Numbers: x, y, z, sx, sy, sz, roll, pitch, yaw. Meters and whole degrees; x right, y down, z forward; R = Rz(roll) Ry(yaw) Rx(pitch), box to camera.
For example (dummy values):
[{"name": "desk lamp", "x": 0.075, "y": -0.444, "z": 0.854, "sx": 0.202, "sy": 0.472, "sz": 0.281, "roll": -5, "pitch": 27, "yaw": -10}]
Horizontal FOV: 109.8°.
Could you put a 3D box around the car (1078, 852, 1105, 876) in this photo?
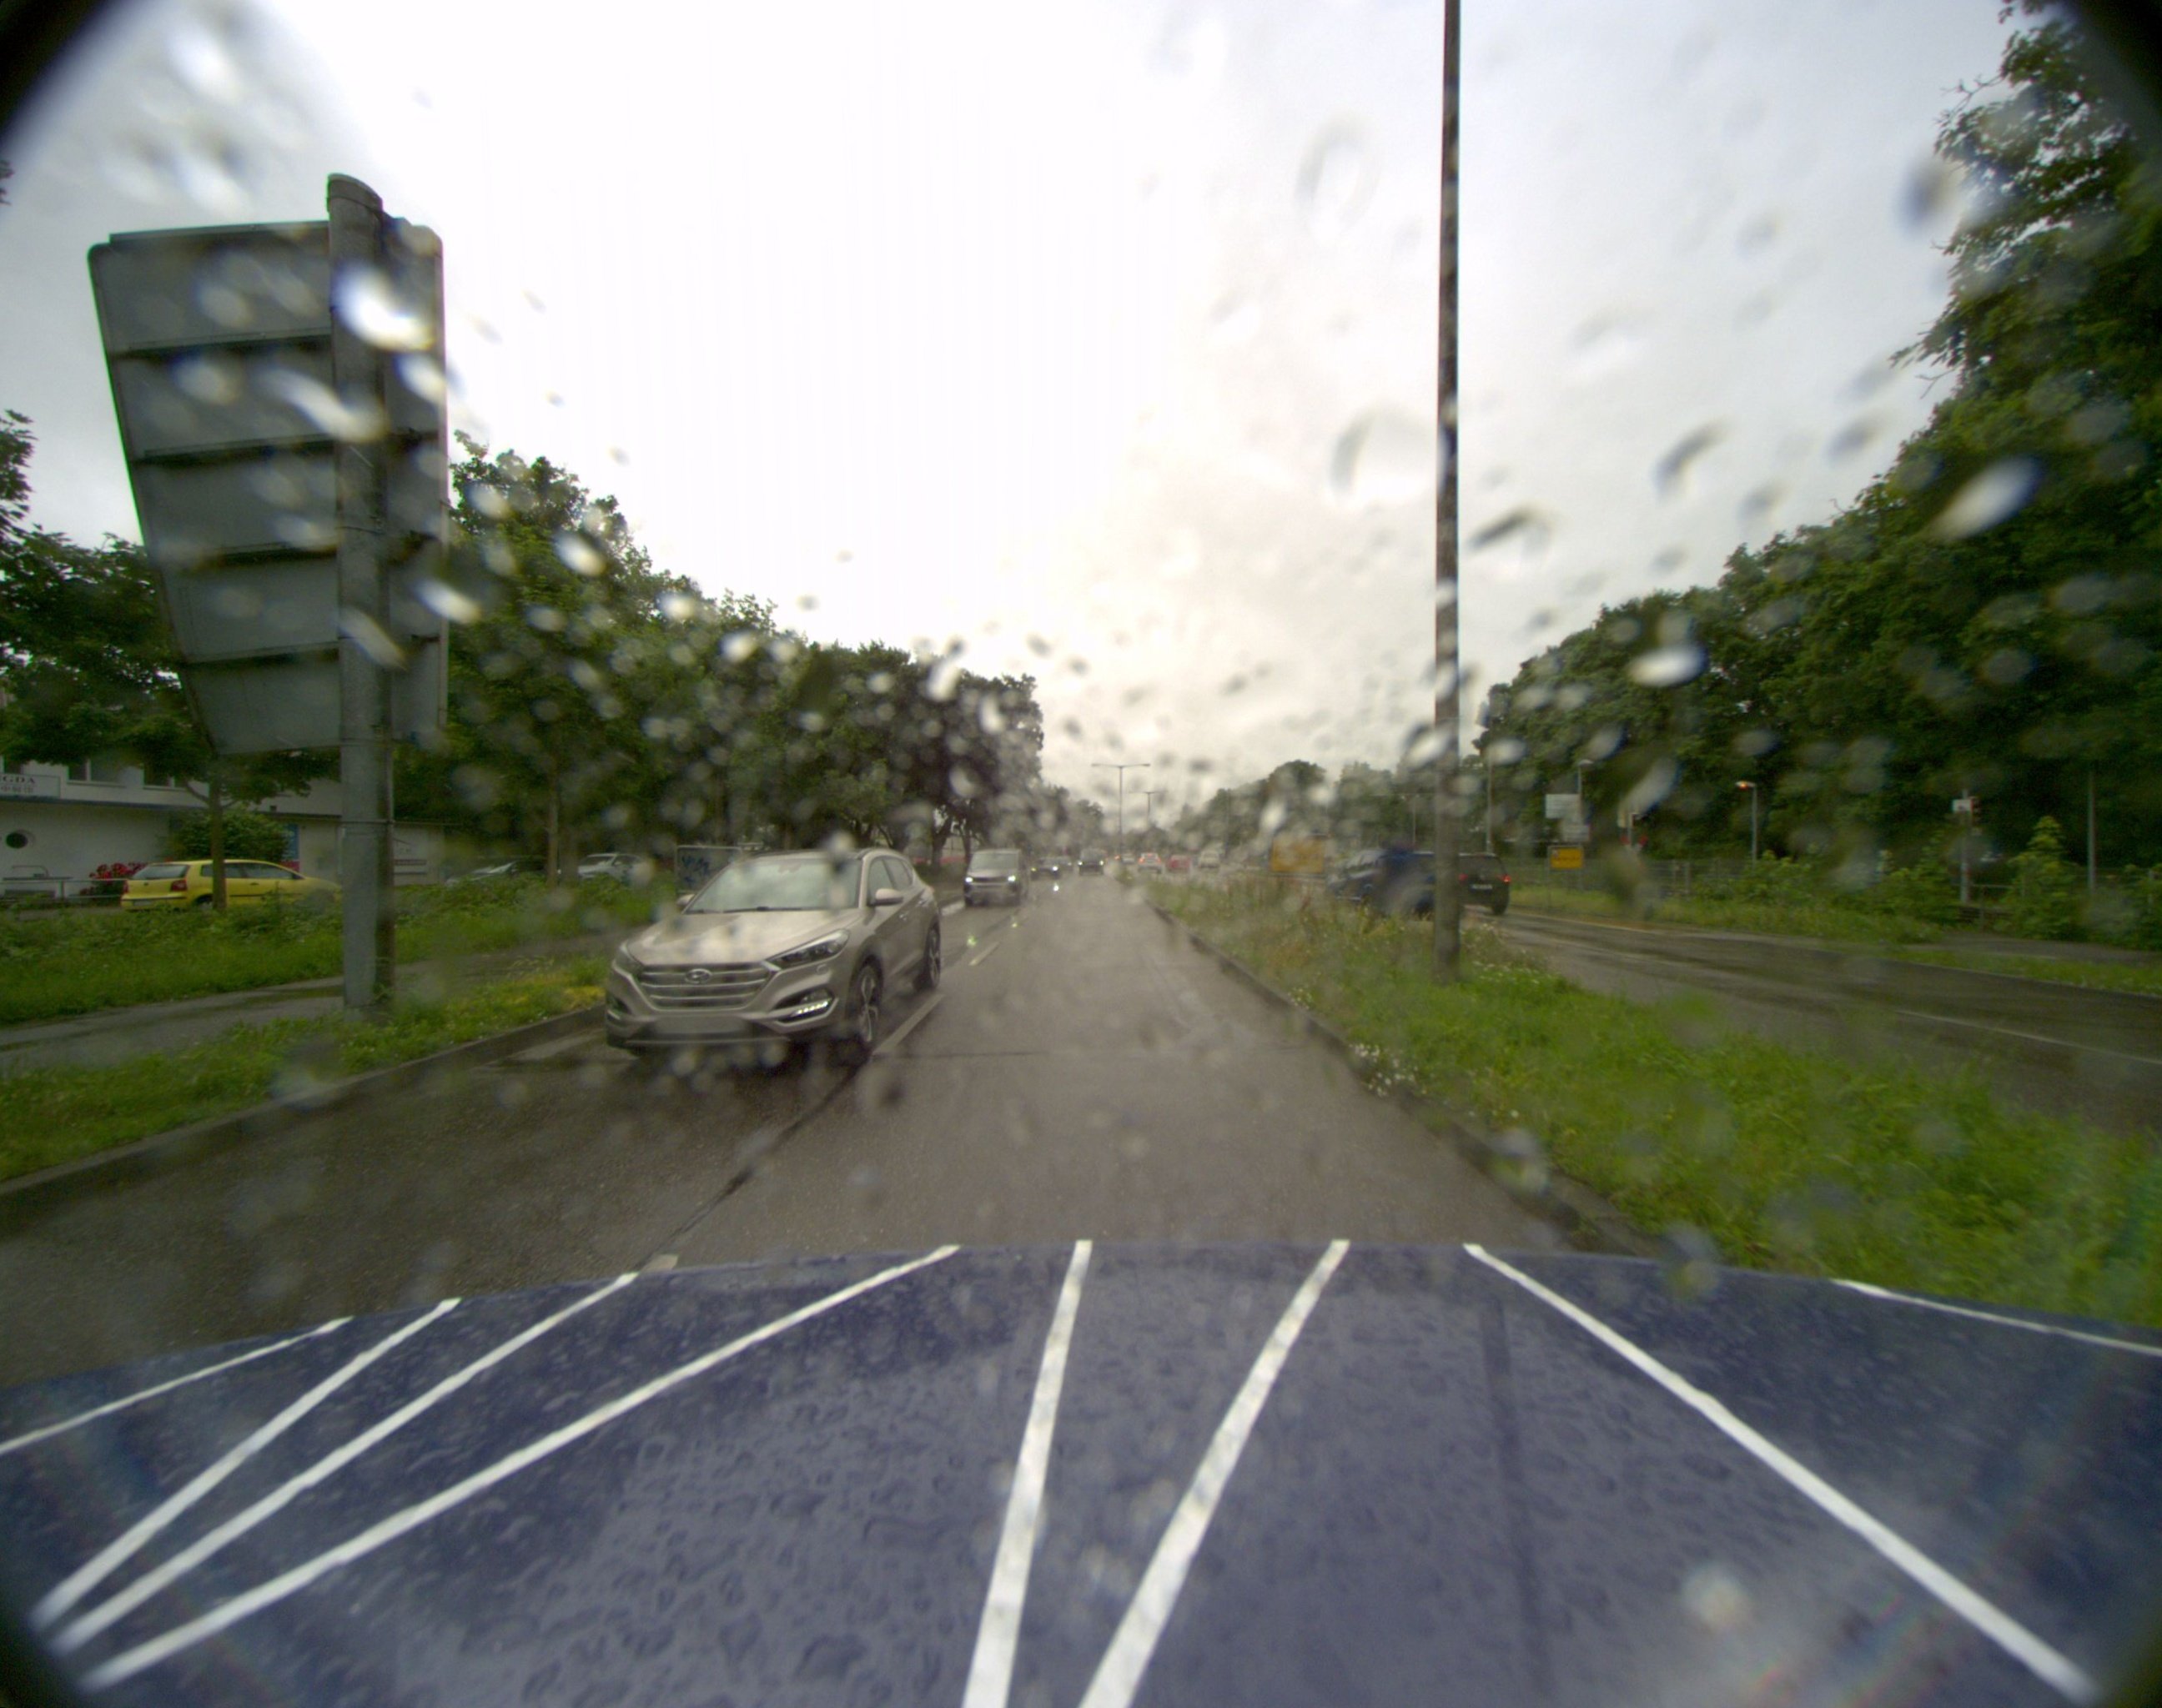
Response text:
[{"name": "car", "x": 0.855, "y": 0.717, "z": 57.726, "sx": 1.812, "sy": 1.683, "sz": 3.777, "roll": -2, "pitch": 1, "yaw": 4}]

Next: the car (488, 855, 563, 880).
[{"name": "car", "x": -32.488, "y": 0.755, "z": 44.549, "sx": 1.576, "sy": 1.308, "sz": 3.701, "roll": -2, "pitch": 1, "yaw": 0}]

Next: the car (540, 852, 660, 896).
[{"name": "car", "x": -20.500, "y": 0.798, "z": 32.690, "sx": 1.998, "sy": 1.707, "sz": 4.878, "roll": 0, "pitch": 1, "yaw": 1}]

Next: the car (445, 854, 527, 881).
[{"name": "car", "x": -34.835, "y": 0.760, "z": 44.617, "sx": 1.587, "sy": 1.377, "sz": 4.000, "roll": -2, "pitch": 1, "yaw": 1}]

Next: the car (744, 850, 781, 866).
[{"name": "car", "x": -40.865, "y": 0.508, "z": 97.540, "sx": 4.185, "sy": 1.953, "sz": 1.929, "roll": -2, "pitch": 1, "yaw": 24}]

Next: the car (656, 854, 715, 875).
[{"name": "car", "x": -30.656, "y": 0.836, "z": 58.910, "sx": 3.759, "sy": 1.441, "sz": 1.599, "roll": -3, "pitch": 1, "yaw": -39}]

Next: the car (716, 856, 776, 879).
[{"name": "car", "x": -22.785, "y": 0.900, "z": 51.732, "sx": 3.395, "sy": 1.344, "sz": 1.521, "roll": -3, "pitch": 1, "yaw": -43}]

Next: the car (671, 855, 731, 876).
[{"name": "car", "x": -28.859, "y": 0.863, "z": 57.765, "sx": 3.759, "sy": 1.441, "sz": 1.665, "roll": -3, "pitch": 1, "yaw": -39}]

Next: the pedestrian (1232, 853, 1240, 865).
[{"name": "pedestrian", "x": 22.116, "y": 0.716, "z": 108.191, "sx": 0.783, "sy": 1.648, "sz": 0.803, "roll": -2, "pitch": 1, "yaw": -14}]

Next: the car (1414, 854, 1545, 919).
[{"name": "car", "x": 11.147, "y": 0.832, "z": 21.625, "sx": 1.710, "sy": 1.632, "sz": 4.332, "roll": 1, "pitch": 0, "yaw": 5}]

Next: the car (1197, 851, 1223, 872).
[{"name": "car", "x": 12.584, "y": 0.712, "z": 74.242, "sx": 1.933, "sy": 2.006, "sz": 4.744, "roll": 1, "pitch": 0, "yaw": 3}]

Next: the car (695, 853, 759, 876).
[{"name": "car", "x": -25.105, "y": 0.758, "z": 53.959, "sx": 1.665, "sy": 1.441, "sz": 3.759, "roll": -1, "pitch": 1, "yaw": 42}]

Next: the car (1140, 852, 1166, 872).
[{"name": "car", "x": 6.091, "y": 0.665, "z": 64.680, "sx": 1.965, "sy": 1.607, "sz": 4.698, "roll": 2, "pitch": 0, "yaw": 3}]

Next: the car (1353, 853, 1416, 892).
[{"name": "car", "x": 15.845, "y": 0.921, "z": 39.914, "sx": 1.997, "sy": 1.817, "sz": 4.774, "roll": -2, "pitch": 1, "yaw": 9}]

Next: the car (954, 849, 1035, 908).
[{"name": "car", "x": -2.844, "y": 0.769, "z": 26.044, "sx": 1.998, "sy": 1.785, "sz": 4.562, "roll": -2, "pitch": 0, "yaw": 2}]

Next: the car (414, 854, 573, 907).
[{"name": "car", "x": -20.740, "y": 0.867, "z": 27.127, "sx": 1.998, "sy": 1.707, "sz": 4.641, "roll": 0, "pitch": 1, "yaw": 1}]

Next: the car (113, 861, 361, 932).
[{"name": "car", "x": -21.142, "y": 0.977, "z": 19.329, "sx": 1.641, "sy": 1.477, "sz": 4.073, "roll": -2, "pitch": 1, "yaw": 1}]

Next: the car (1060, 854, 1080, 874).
[{"name": "car", "x": -0.983, "y": 0.876, "z": 69.190, "sx": 1.651, "sy": 1.652, "sz": 3.777, "roll": -2, "pitch": 1, "yaw": 1}]

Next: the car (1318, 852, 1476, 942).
[{"name": "car", "x": 6.564, "y": 0.805, "z": 16.320, "sx": 1.748, "sy": 1.640, "sz": 4.136, "roll": 1, "pitch": 0, "yaw": 2}]

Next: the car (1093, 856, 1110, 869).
[{"name": "car", "x": 2.679, "y": 1.060, "z": 97.706, "sx": 1.898, "sy": 1.602, "sz": 4.001, "roll": -2, "pitch": 1, "yaw": 4}]

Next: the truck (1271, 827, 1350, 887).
[{"name": "truck", "x": 17.657, "y": 0.177, "z": 59.354, "sx": 3.393, "sy": 4.143, "sz": 10.407, "roll": -2, "pitch": 1, "yaw": 3}]

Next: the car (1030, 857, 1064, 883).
[{"name": "car", "x": -2.273, "y": 1.028, "z": 51.457, "sx": 1.858, "sy": 1.583, "sz": 4.000, "roll": -2, "pitch": 1, "yaw": 3}]

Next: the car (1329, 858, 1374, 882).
[{"name": "car", "x": 16.719, "y": 0.972, "z": 47.180, "sx": 1.591, "sy": 1.370, "sz": 3.687, "roll": 2, "pitch": 1, "yaw": 3}]

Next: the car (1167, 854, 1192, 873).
[{"name": "car", "x": 8.772, "y": 0.817, "z": 67.779, "sx": 1.805, "sy": 1.560, "sz": 4.429, "roll": 1, "pitch": 1, "yaw": 2}]

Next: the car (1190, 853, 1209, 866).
[{"name": "car", "x": 13.811, "y": 0.658, "z": 88.478, "sx": 1.645, "sy": 1.419, "sz": 4.000, "roll": 2, "pitch": 1, "yaw": 1}]

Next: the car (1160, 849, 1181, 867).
[{"name": "car", "x": 9.377, "y": 0.401, "z": 79.736, "sx": 1.810, "sy": 1.763, "sz": 5.090, "roll": 1, "pitch": 0, "yaw": 3}]

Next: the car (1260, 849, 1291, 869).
[{"name": "car", "x": 18.006, "y": 0.394, "z": 70.433, "sx": 1.998, "sy": 1.699, "sz": 4.527, "roll": -2, "pitch": 1, "yaw": 4}]

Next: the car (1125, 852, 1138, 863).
[{"name": "car", "x": 7.376, "y": 0.553, "z": 111.692, "sx": 1.740, "sy": 1.535, "sz": 4.014, "roll": -1, "pitch": 1, "yaw": 6}]

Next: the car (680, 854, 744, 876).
[{"name": "car", "x": -26.950, "y": 0.812, "z": 55.541, "sx": 1.665, "sy": 1.441, "sz": 3.759, "roll": -1, "pitch": 1, "yaw": 42}]

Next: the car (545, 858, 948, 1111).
[{"name": "car", "x": -2.592, "y": 0.885, "z": 7.155, "sx": 1.889, "sy": 1.601, "sz": 4.195, "roll": -1, "pitch": 0, "yaw": 0}]
